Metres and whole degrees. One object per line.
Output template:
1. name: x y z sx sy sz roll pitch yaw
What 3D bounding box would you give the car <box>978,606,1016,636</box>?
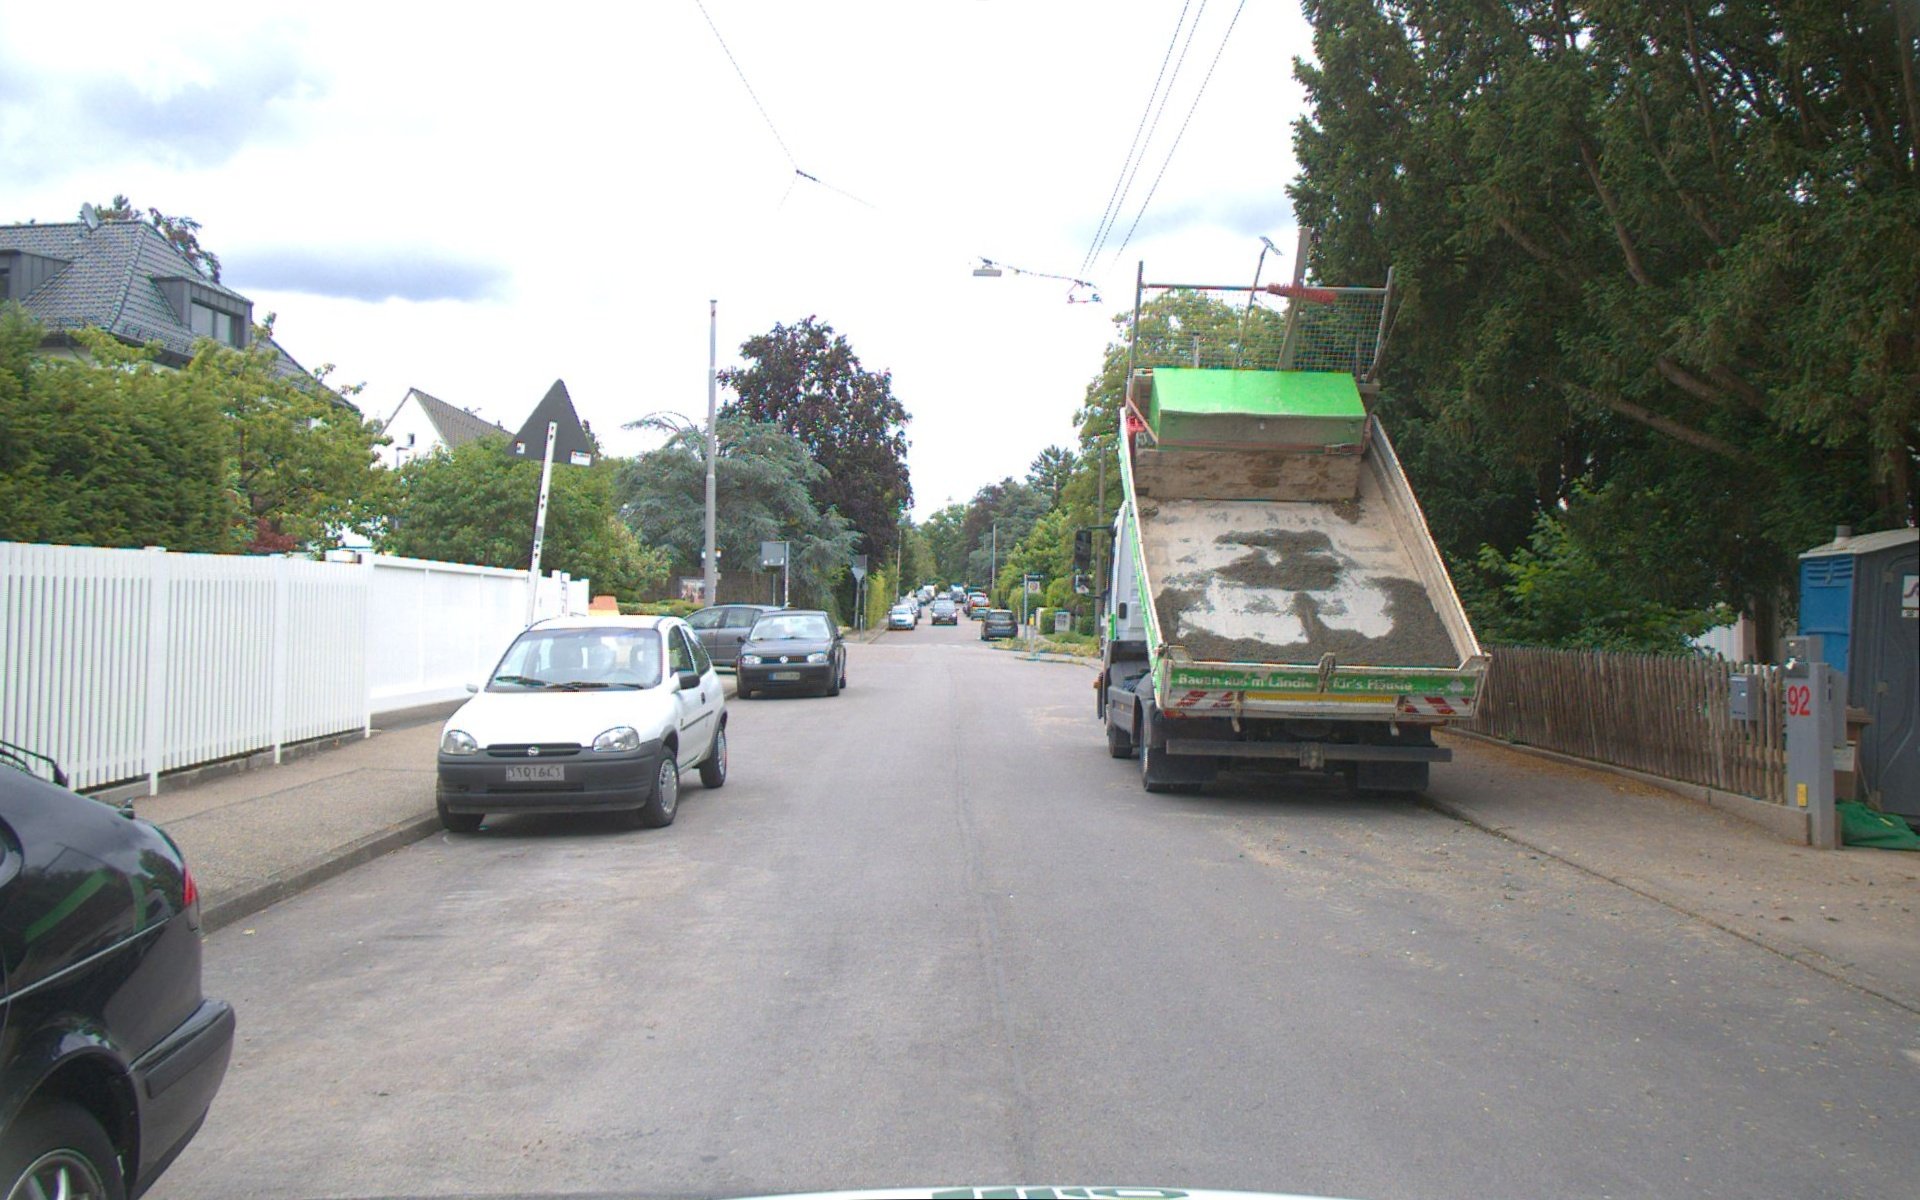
1. car: 1.873 1.068 85.118 1.743 1.515 3.999 1 0 -2

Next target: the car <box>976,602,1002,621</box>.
1. car: 2.245 0.862 128.684 1.773 1.359 3.631 2 1 -1

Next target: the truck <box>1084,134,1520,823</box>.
1. truck: 2.704 -0.849 15.348 2.473 4.831 7.186 1 0 0

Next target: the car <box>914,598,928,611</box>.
1. car: -4.599 0.492 193.508 1.593 1.410 3.597 2 0 -1

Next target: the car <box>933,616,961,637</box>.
1. car: -0.866 1.797 114.303 1.692 1.432 3.805 0 -1 3

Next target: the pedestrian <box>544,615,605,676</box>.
1. pedestrian: -7.998 0.941 34.321 0.941 1.246 0.823 2 -2 -43

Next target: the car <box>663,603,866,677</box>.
1. car: -4.179 0.830 35.494 3.902 1.469 1.828 1 0 16

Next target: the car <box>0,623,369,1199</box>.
1. car: -2.360 0.797 1.877 1.607 1.447 4.550 -2 0 1

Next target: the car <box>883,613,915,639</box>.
1. car: -3.845 1.630 104.959 1.676 1.613 4.001 1 0 2

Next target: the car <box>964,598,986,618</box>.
1. car: 1.254 0.668 137.564 1.752 1.556 3.734 1 0 1

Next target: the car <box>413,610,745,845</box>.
1. car: -2.701 0.830 12.603 1.563 1.458 4.000 -1 0 0

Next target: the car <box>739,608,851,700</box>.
1. car: -2.780 0.875 28.556 1.604 1.419 3.987 -2 0 -2

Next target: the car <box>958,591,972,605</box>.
1. car: 0.597 -0.212 209.206 1.601 1.731 3.493 1 0 -1
